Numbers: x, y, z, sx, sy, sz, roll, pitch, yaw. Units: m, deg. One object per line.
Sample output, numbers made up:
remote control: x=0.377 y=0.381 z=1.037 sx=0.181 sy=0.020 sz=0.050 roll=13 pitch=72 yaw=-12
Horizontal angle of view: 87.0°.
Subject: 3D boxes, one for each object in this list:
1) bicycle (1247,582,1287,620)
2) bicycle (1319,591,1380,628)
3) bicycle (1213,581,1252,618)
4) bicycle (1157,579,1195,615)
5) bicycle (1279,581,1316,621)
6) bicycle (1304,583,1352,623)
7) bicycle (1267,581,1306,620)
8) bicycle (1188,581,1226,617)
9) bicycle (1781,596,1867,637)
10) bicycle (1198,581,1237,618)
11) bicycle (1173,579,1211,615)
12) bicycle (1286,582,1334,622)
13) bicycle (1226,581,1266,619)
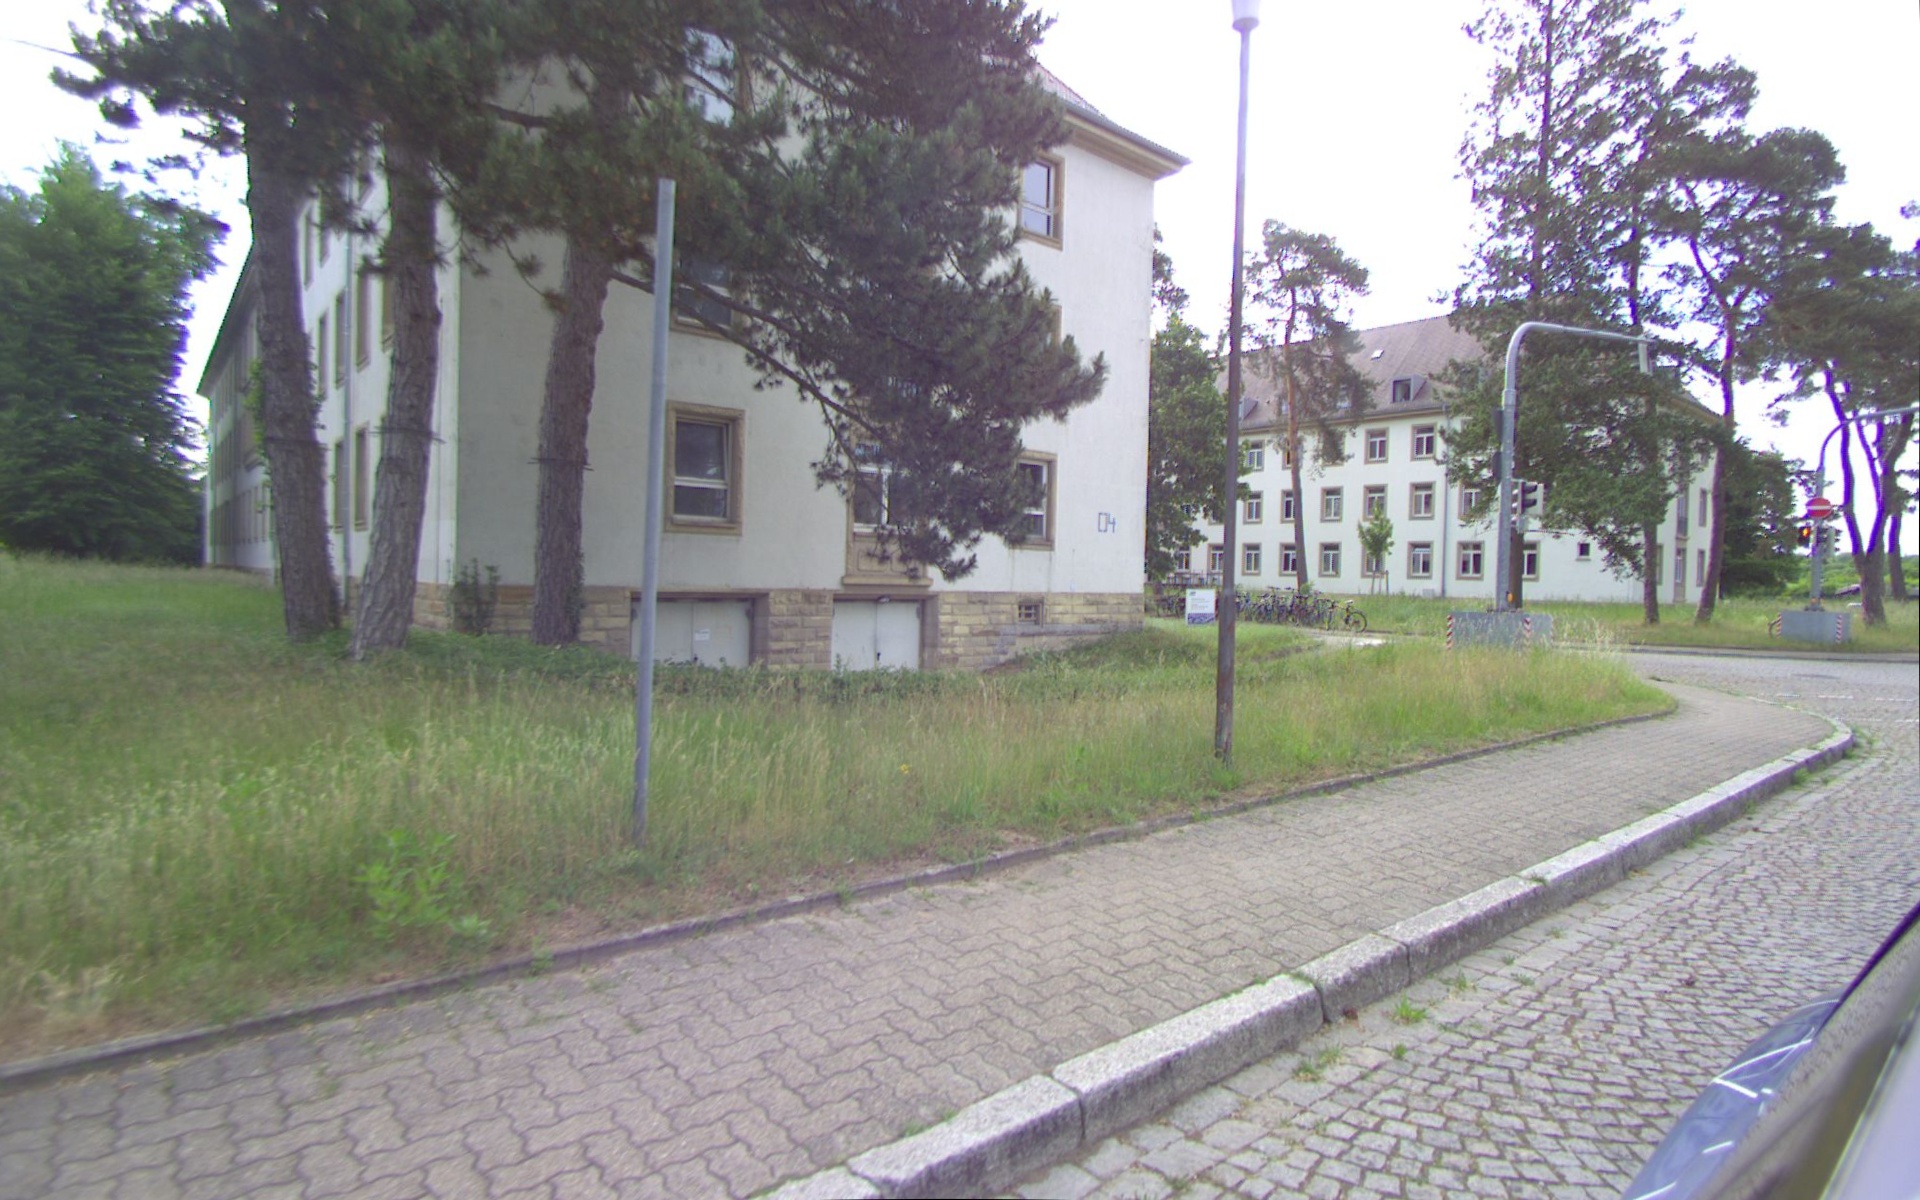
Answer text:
bicycle: x=11.138 y=0.027 z=36.683 sx=0.571 sy=1.348 sz=1.808 roll=2 pitch=1 yaw=44
bicycle: x=12.549 y=0.298 z=32.672 sx=0.562 sy=1.098 sz=1.837 roll=-2 pitch=3 yaw=-36
bicycle: x=10.169 y=-0.020 z=37.720 sx=0.571 sy=1.348 sz=1.808 roll=2 pitch=1 yaw=44
bicycle: x=8.506 y=-0.121 z=39.766 sx=0.571 sy=1.348 sz=1.808 roll=2 pitch=1 yaw=44
bicycle: x=11.944 y=0.029 z=35.797 sx=0.481 sy=1.348 sz=1.808 roll=2 pitch=1 yaw=44
bicycle: x=12.739 y=0.109 z=35.001 sx=1.802 sy=1.348 sz=0.573 roll=1 pitch=1 yaw=-33
bicycle: x=11.675 y=0.026 z=36.137 sx=0.571 sy=1.348 sz=1.808 roll=2 pitch=1 yaw=44
bicycle: x=9.504 y=-0.030 z=38.906 sx=0.571 sy=1.348 sz=1.808 roll=2 pitch=1 yaw=44
bicycle: x=25.167 y=0.470 z=29.497 sx=0.563 sy=1.098 sz=1.835 roll=-2 pitch=3 yaw=-41
bicycle: x=9.745 y=-0.025 z=38.308 sx=0.571 sy=1.348 sz=1.808 roll=2 pitch=1 yaw=44
bicycle: x=9.013 y=-0.107 z=39.266 sx=0.571 sy=1.348 sz=1.808 roll=2 pitch=1 yaw=44
bicycle: x=12.260 y=0.061 z=35.413 sx=1.802 sy=1.348 sz=0.573 roll=1 pitch=1 yaw=-33
bicycle: x=10.551 y=-0.016 z=37.303 sx=0.571 sy=1.348 sz=1.808 roll=2 pitch=1 yaw=44
